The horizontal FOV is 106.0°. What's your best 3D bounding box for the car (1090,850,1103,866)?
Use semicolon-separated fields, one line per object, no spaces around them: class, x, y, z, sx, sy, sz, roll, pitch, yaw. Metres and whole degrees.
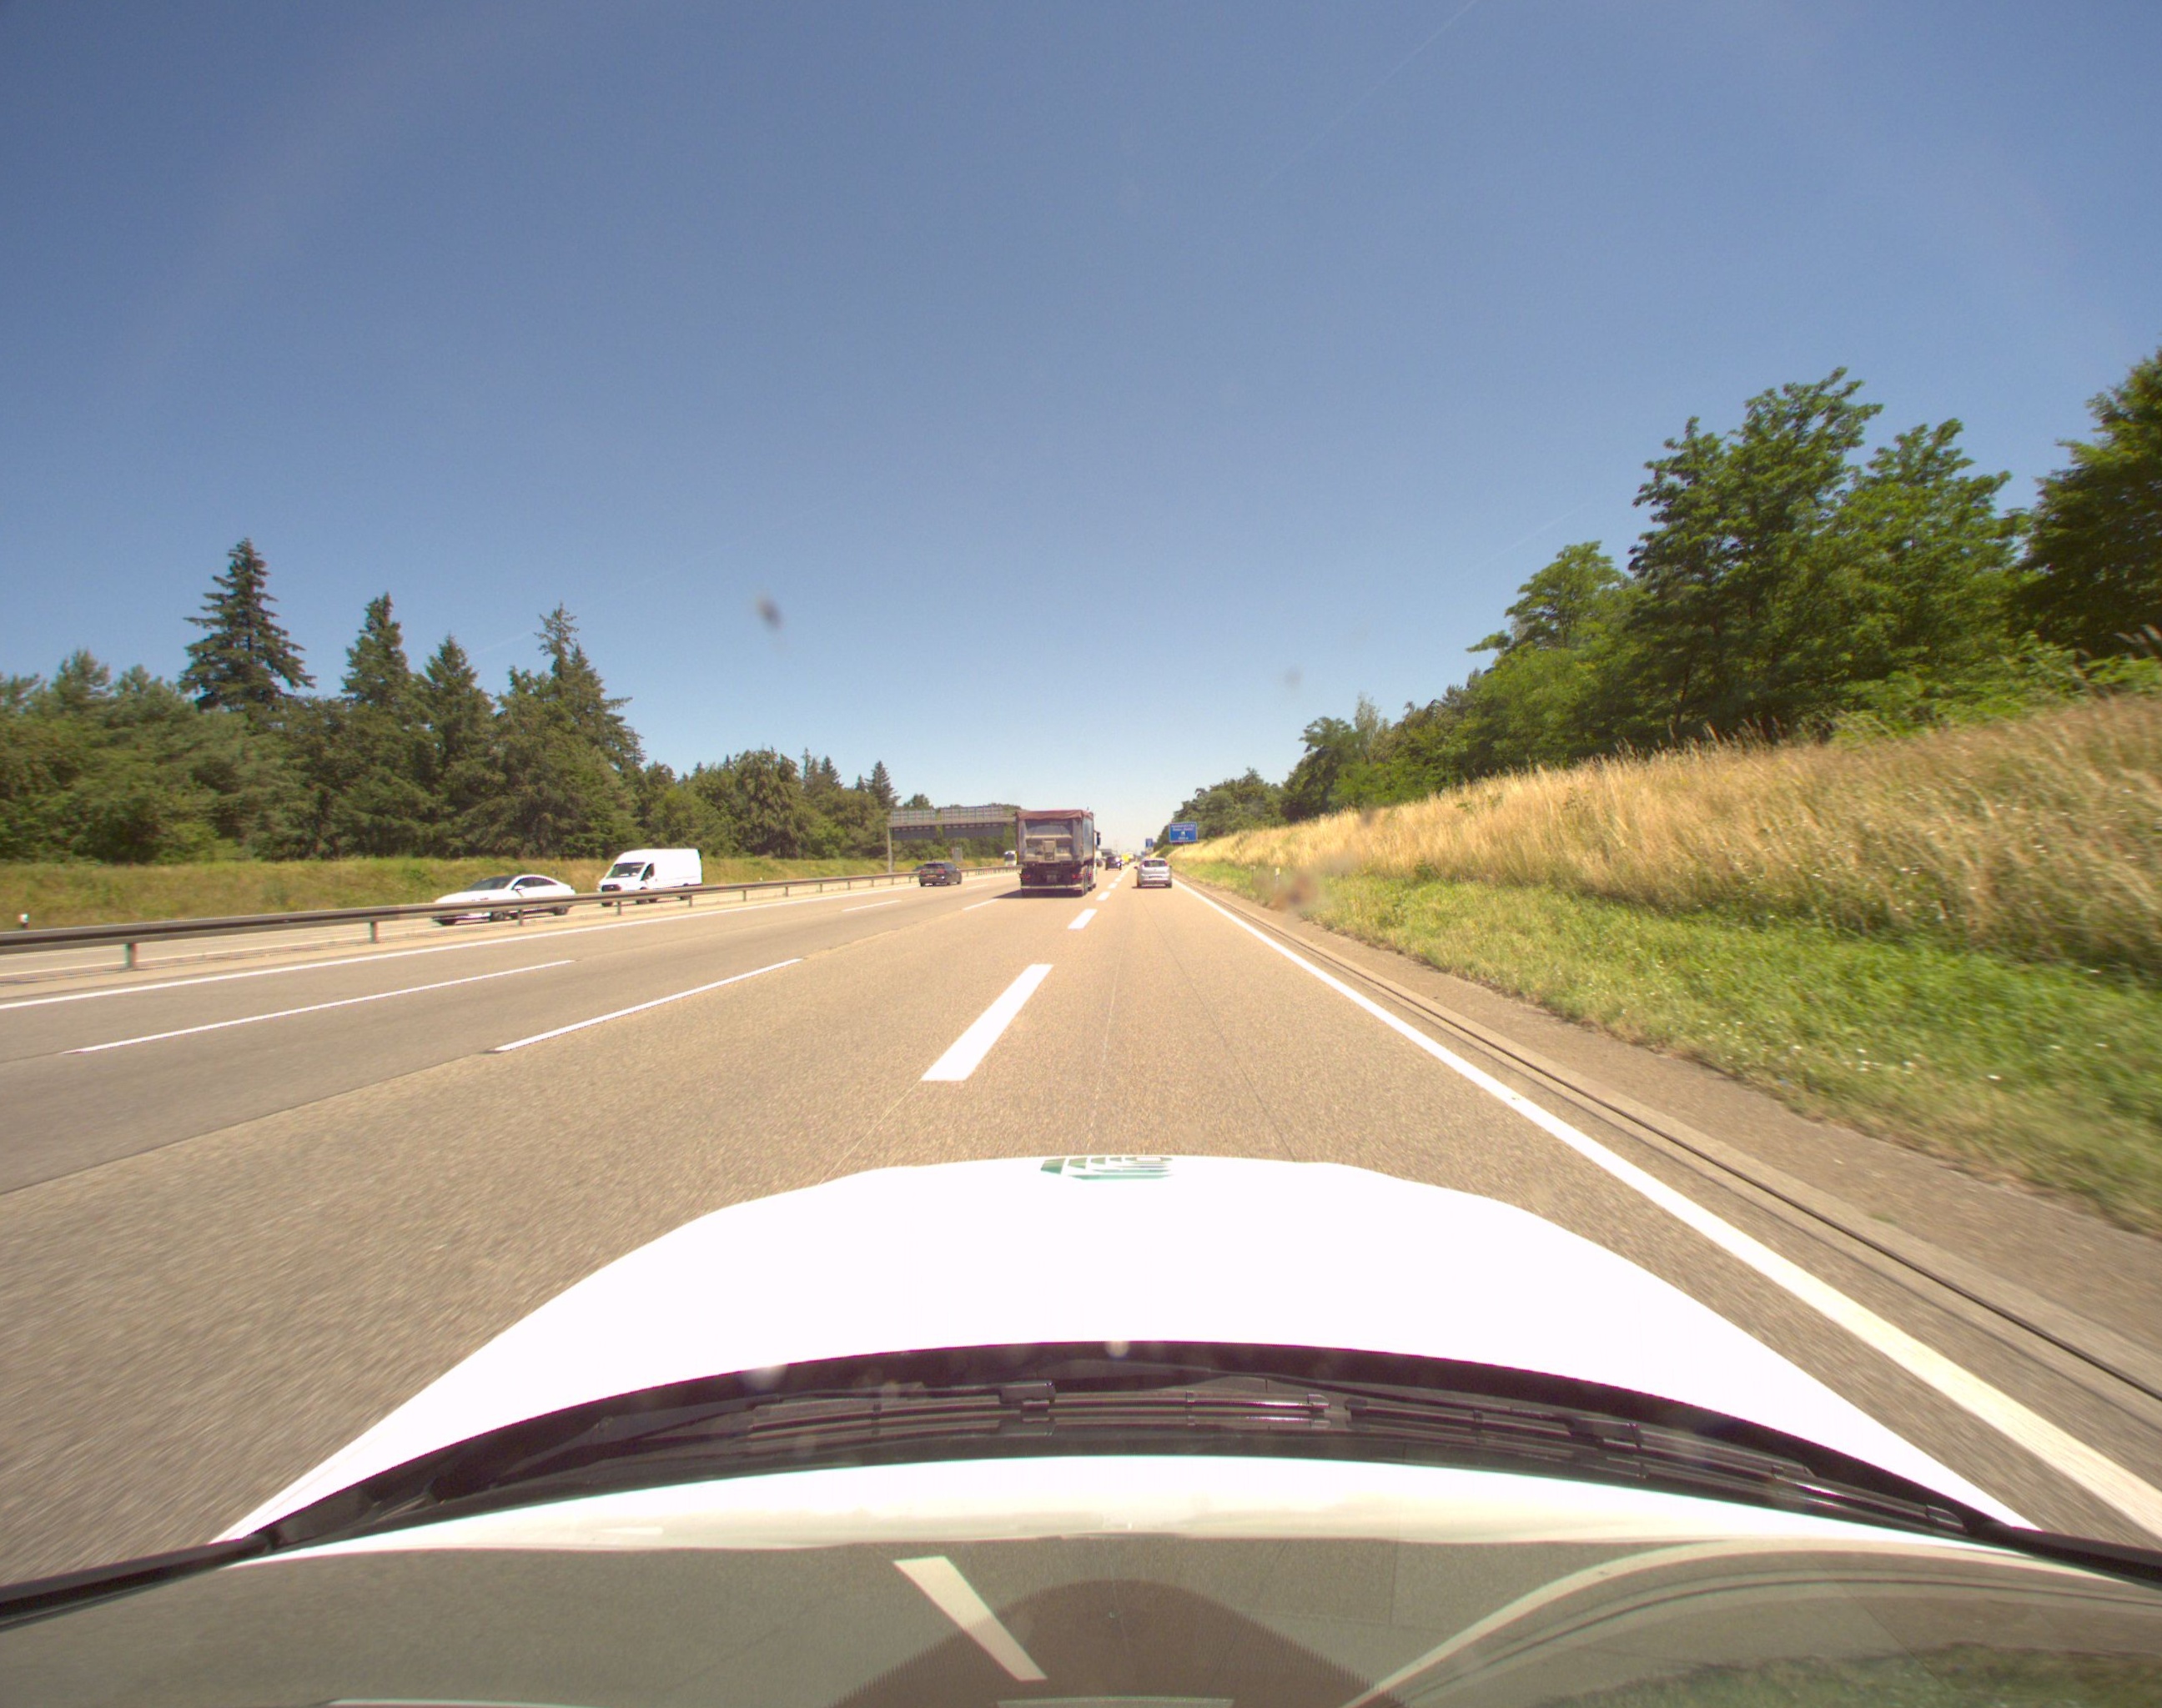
car;2.924;0.809;152.247;2.250;2.951;6.118;0;0;3

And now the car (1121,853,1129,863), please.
car;9.716;0.901;179.558;1.605;2.014;4.003;0;0;3

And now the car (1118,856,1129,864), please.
car;7.820;1.094;148.943;1.813;1.492;3.741;-1;-1;4

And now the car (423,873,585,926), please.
car;-18.657;1.406;26.666;1.684;1.391;4.680;-4;0;4

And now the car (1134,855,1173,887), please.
car;3.575;0.803;40.469;1.713;1.491;3.739;-1;0;2

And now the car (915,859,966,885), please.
car;-8.346;1.029;48.709;1.824;1.431;5.005;-1;0;4

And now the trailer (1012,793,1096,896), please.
trailer;-0.932;-0.339;34.769;2.725;3.758;9.116;-1;0;3

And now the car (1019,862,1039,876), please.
car;-6.147;1.716;95.957;1.696;1.474;4.601;-2;0;4

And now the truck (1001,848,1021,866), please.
truck;-15.940;0.619;185.904;3.198;4.018;6.225;-1;-1;6

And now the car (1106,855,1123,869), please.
car;4.028;0.933;97.983;1.823;1.672;4.004;0;-1;4

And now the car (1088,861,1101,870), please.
car;2.246;1.874;131.846;1.885;1.469;4.266;0;0;4

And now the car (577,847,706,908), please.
car;-22.071;1.117;41.388;2.333;2.711;6.880;-4;0;4

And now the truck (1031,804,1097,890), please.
truck;-0.695;-0.320;39.504;2.673;3.758;5.948;-1;0;3
